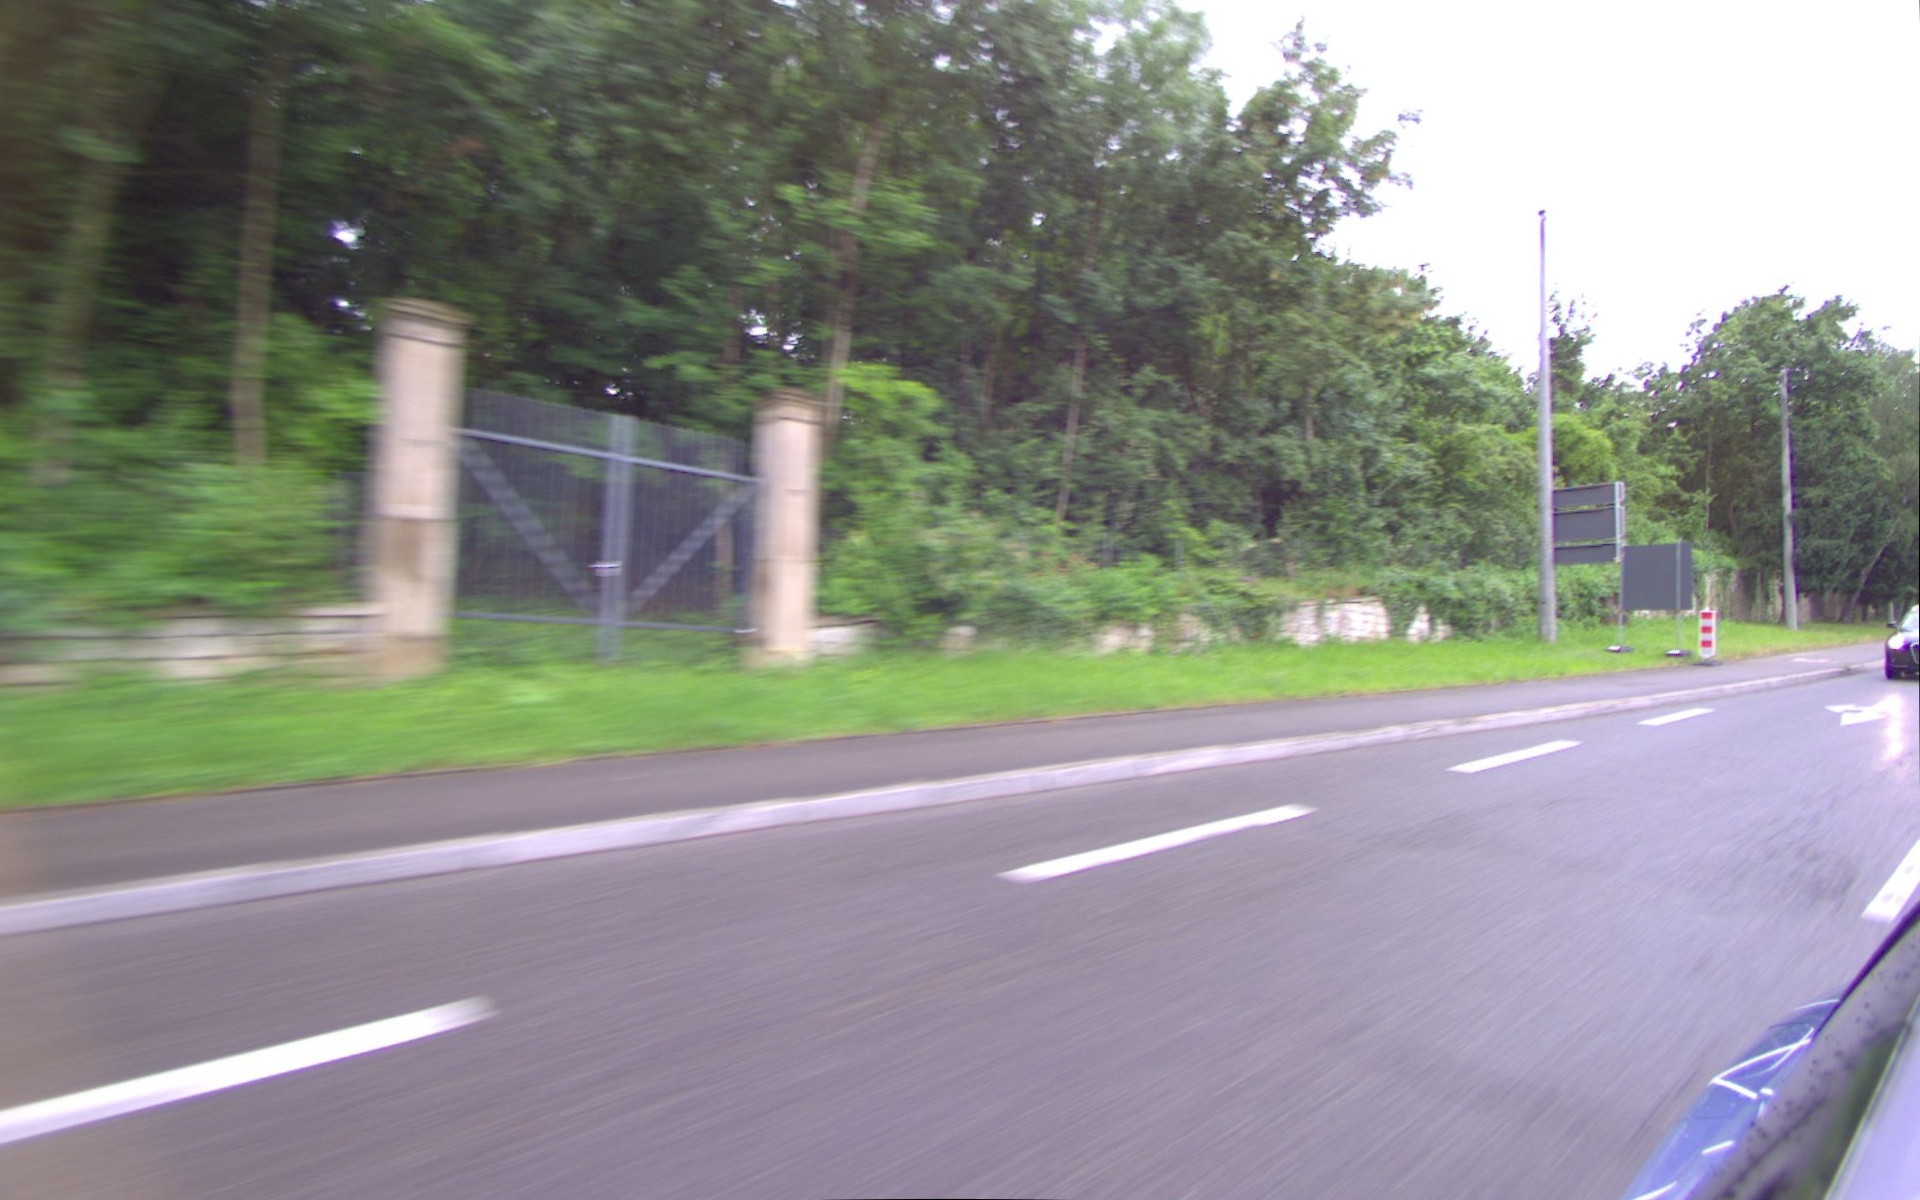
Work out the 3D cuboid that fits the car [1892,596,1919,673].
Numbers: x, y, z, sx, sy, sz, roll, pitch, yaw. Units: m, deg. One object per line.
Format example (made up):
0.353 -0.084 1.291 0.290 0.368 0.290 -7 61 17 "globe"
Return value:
21.856 0.733 22.008 3.929 1.608 1.854 1 -1 -40 "car"
